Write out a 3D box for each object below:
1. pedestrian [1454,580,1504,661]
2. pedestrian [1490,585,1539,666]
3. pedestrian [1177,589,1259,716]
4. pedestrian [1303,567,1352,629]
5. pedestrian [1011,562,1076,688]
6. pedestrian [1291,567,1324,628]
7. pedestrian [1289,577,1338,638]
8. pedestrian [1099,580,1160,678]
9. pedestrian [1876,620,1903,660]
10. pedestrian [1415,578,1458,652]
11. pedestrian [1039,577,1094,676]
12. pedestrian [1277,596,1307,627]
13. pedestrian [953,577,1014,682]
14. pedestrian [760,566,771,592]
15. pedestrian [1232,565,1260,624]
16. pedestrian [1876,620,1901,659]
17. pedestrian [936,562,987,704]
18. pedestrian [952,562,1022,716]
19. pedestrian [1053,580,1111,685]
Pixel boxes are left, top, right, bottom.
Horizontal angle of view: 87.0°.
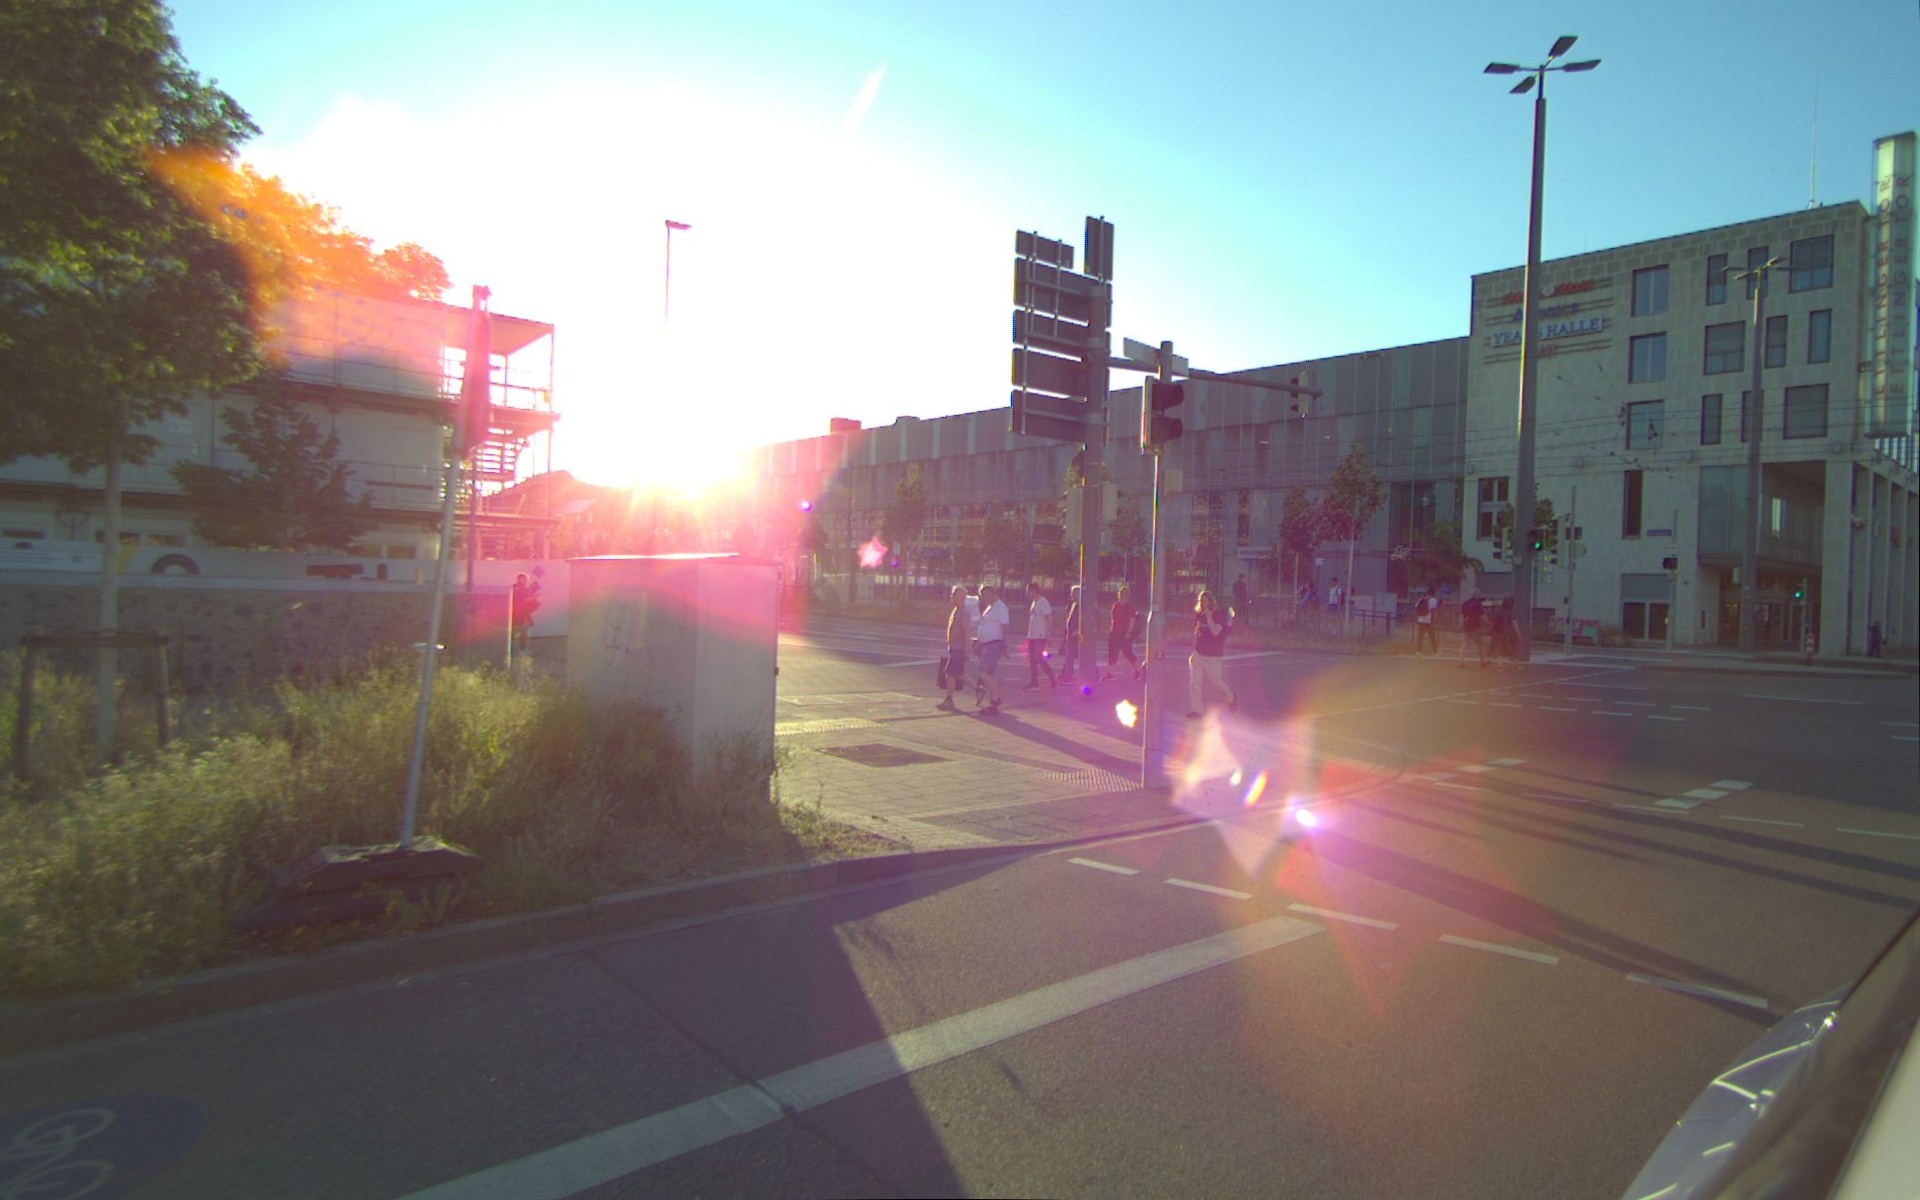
[{"bbox_3d":[11.633,0.449,22.686,0.854,1.752,0.644,1,1,-37],"label":"pedestrian"},{"bbox_3d":[12.039,0.539,21.977,0.855,1.680,0.644,-2,2,-37],"label":"pedestrian"},{"bbox_3d":[3.514,0.699,13.780,0.855,1.648,0.644,2,0,-39],"label":"pedestrian"},{"bbox_3d":[11.544,-0.068,31.796,0.985,1.876,0.896,1,4,-26],"label":"pedestrian"},{"bbox_3d":[1.358,0.397,16.477,0.748,1.993,0.644,2,0,-37],"label":"pedestrian"},{"bbox_3d":[11.239,-0.088,32.764,0.882,1.876,0.723,3,3,18],"label":"pedestrian"},{"bbox_3d":[10.772,0.224,30.862,0.986,1.745,0.873,2,3,-12],"label":"pedestrian"},{"bbox_3d":[3.117,0.523,18.604,0.854,1.734,0.644,2,0,-37],"label":"pedestrian"},{"bbox_3d":[41.043,1.758,44.695,0.819,1.727,0.764,2,0,-41],"label":"pedestrian"},{"bbox_3d":[12.104,0.368,25.697,0.855,1.835,0.644,0,1,-37],"label":"pedestrian"},{"bbox_3d":[1.990,0.486,19.022,0.566,1.764,0.645,0,9,-37],"label":"pedestrian"},{"bbox_3d":[10.567,0.369,32.197,0.643,0.975,0.648,2,0,-44],"label":"pedestrian"},{"bbox_3d":[0.395,0.492,17.258,0.748,1.734,0.644,2,0,-36],"label":"pedestrian"},{"bbox_3d":[-14.458,-1.597,75.255,0.604,1.876,0.728,1,4,-28],"label":"pedestrian"},{"bbox_3d":[9.162,-0.171,32.419,0.575,1.877,0.604,1,1,-36],"label":"pedestrian"},{"bbox_3d":[41.852,1.779,45.627,0.762,1.727,0.821,2,0,43],"label":"pedestrian"},{"bbox_3d":[0.009,0.443,14.343,0.606,1.957,0.646,-1,2,-9],"label":"pedestrian"},{"bbox_3d":[0.346,0.495,13.318,0.608,1.957,0.644,1,1,-37],"label":"pedestrian"},{"bbox_3d":[2.129,0.535,17.618,0.748,1.733,0.644,-3,4,-37],"label":"pedestrian"}]
